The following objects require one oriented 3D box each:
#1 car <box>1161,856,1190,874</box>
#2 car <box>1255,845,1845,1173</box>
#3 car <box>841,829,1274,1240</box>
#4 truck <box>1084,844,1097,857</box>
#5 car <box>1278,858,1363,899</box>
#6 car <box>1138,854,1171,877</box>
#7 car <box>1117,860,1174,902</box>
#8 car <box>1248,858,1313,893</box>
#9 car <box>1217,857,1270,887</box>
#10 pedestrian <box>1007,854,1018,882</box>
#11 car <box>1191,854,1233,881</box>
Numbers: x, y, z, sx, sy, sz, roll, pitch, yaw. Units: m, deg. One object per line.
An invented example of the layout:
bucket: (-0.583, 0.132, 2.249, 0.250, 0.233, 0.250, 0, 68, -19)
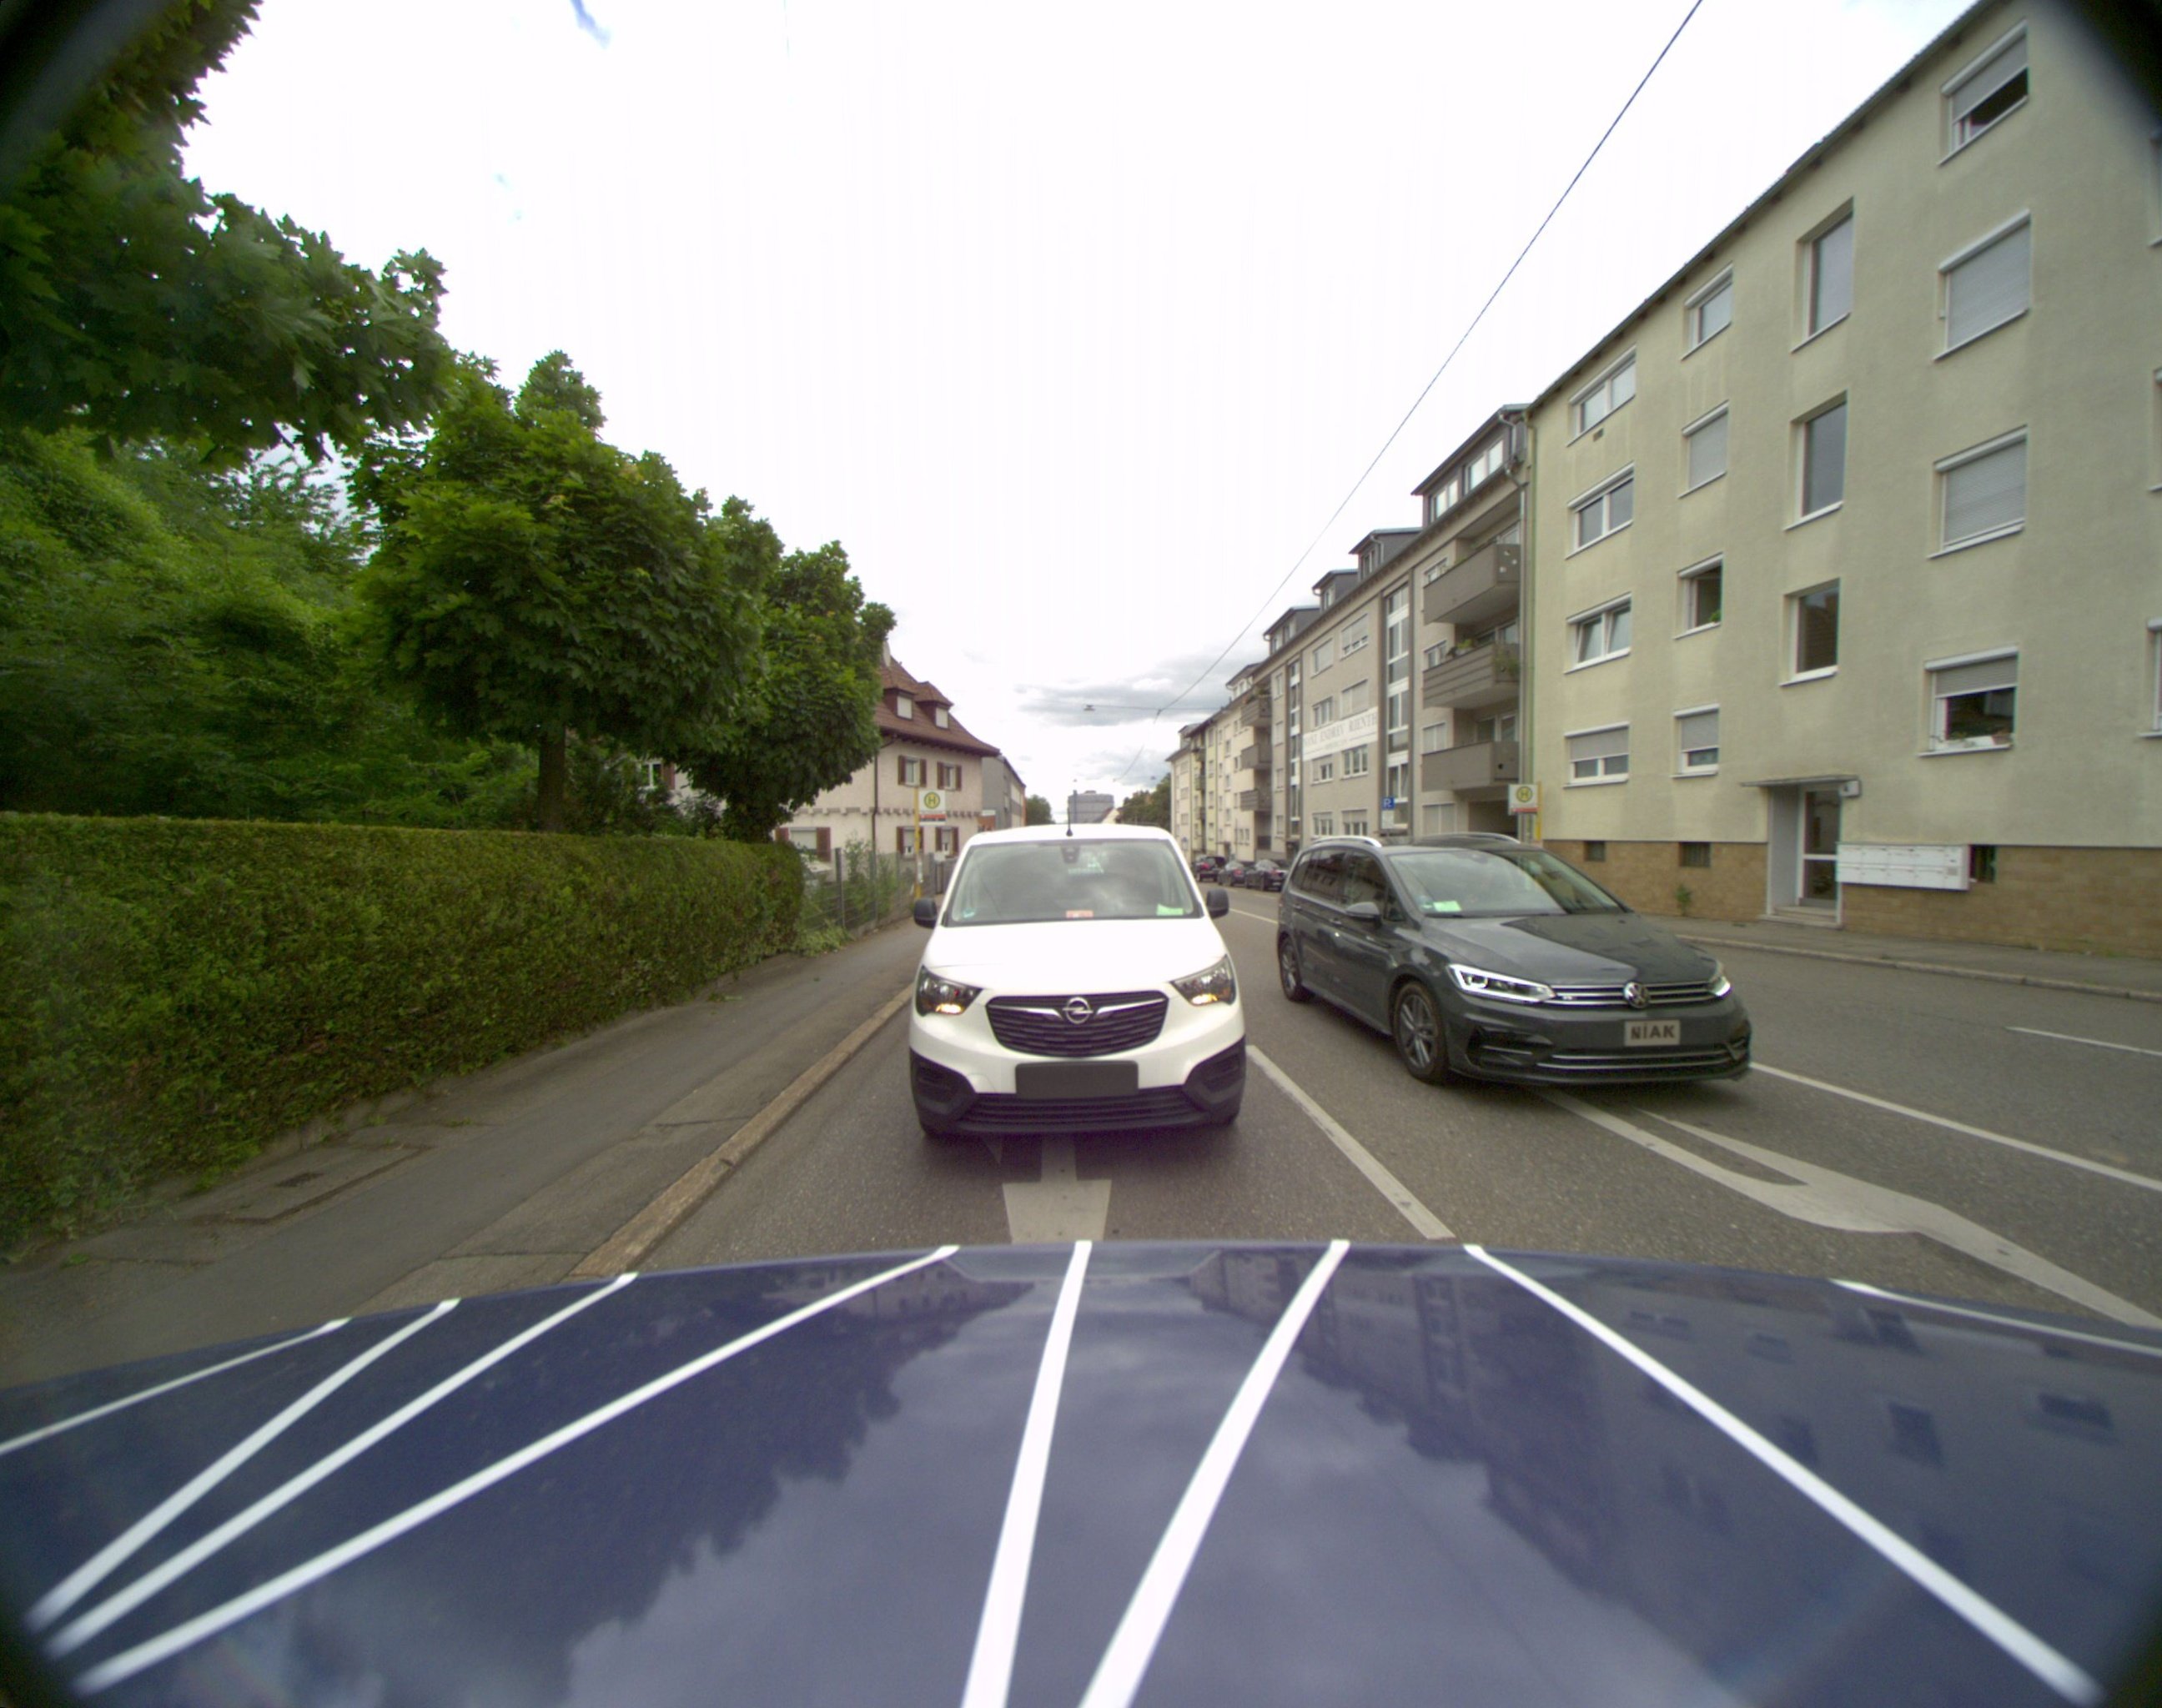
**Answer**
car: (8.137, 0.936, 65.608, 1.776, 1.395, 3.757, 0, 1, -5)
car: (2.927, 0.766, 6.118, 1.863, 1.601, 4.478, -2, 1, -2)
car: (-0.070, 0.782, 5.736, 1.862, 1.772, 4.711, -2, 1, 1)
truck: (1.949, -0.757, 161.446, 2.547, 2.522, 5.493, -1, 0, -1)
car: (8.914, 0.879, 28.572, 1.776, 1.403, 3.685, 0, 1, -5)
car: (5.134, 0.787, 53.451, 1.775, 1.513, 4.082, 0, 1, -2)
car: (2.308, 0.932, 27.553, 1.881, 1.347, 4.147, 0, 0, 4)
car: (8.743, 0.913, 33.521, 1.669, 1.368, 3.538, 0, 1, -5)
car: (8.404, 0.908, 39.550, 1.776, 1.395, 3.538, 0, 1, -5)
pedestrian: (-4.523, 0.936, 50.356, 0.647, 1.830, 0.592, -1, 1, -8)
car: (8.349, 0.833, 48.675, 1.776, 1.591, 3.538, 0, 1, -5)
